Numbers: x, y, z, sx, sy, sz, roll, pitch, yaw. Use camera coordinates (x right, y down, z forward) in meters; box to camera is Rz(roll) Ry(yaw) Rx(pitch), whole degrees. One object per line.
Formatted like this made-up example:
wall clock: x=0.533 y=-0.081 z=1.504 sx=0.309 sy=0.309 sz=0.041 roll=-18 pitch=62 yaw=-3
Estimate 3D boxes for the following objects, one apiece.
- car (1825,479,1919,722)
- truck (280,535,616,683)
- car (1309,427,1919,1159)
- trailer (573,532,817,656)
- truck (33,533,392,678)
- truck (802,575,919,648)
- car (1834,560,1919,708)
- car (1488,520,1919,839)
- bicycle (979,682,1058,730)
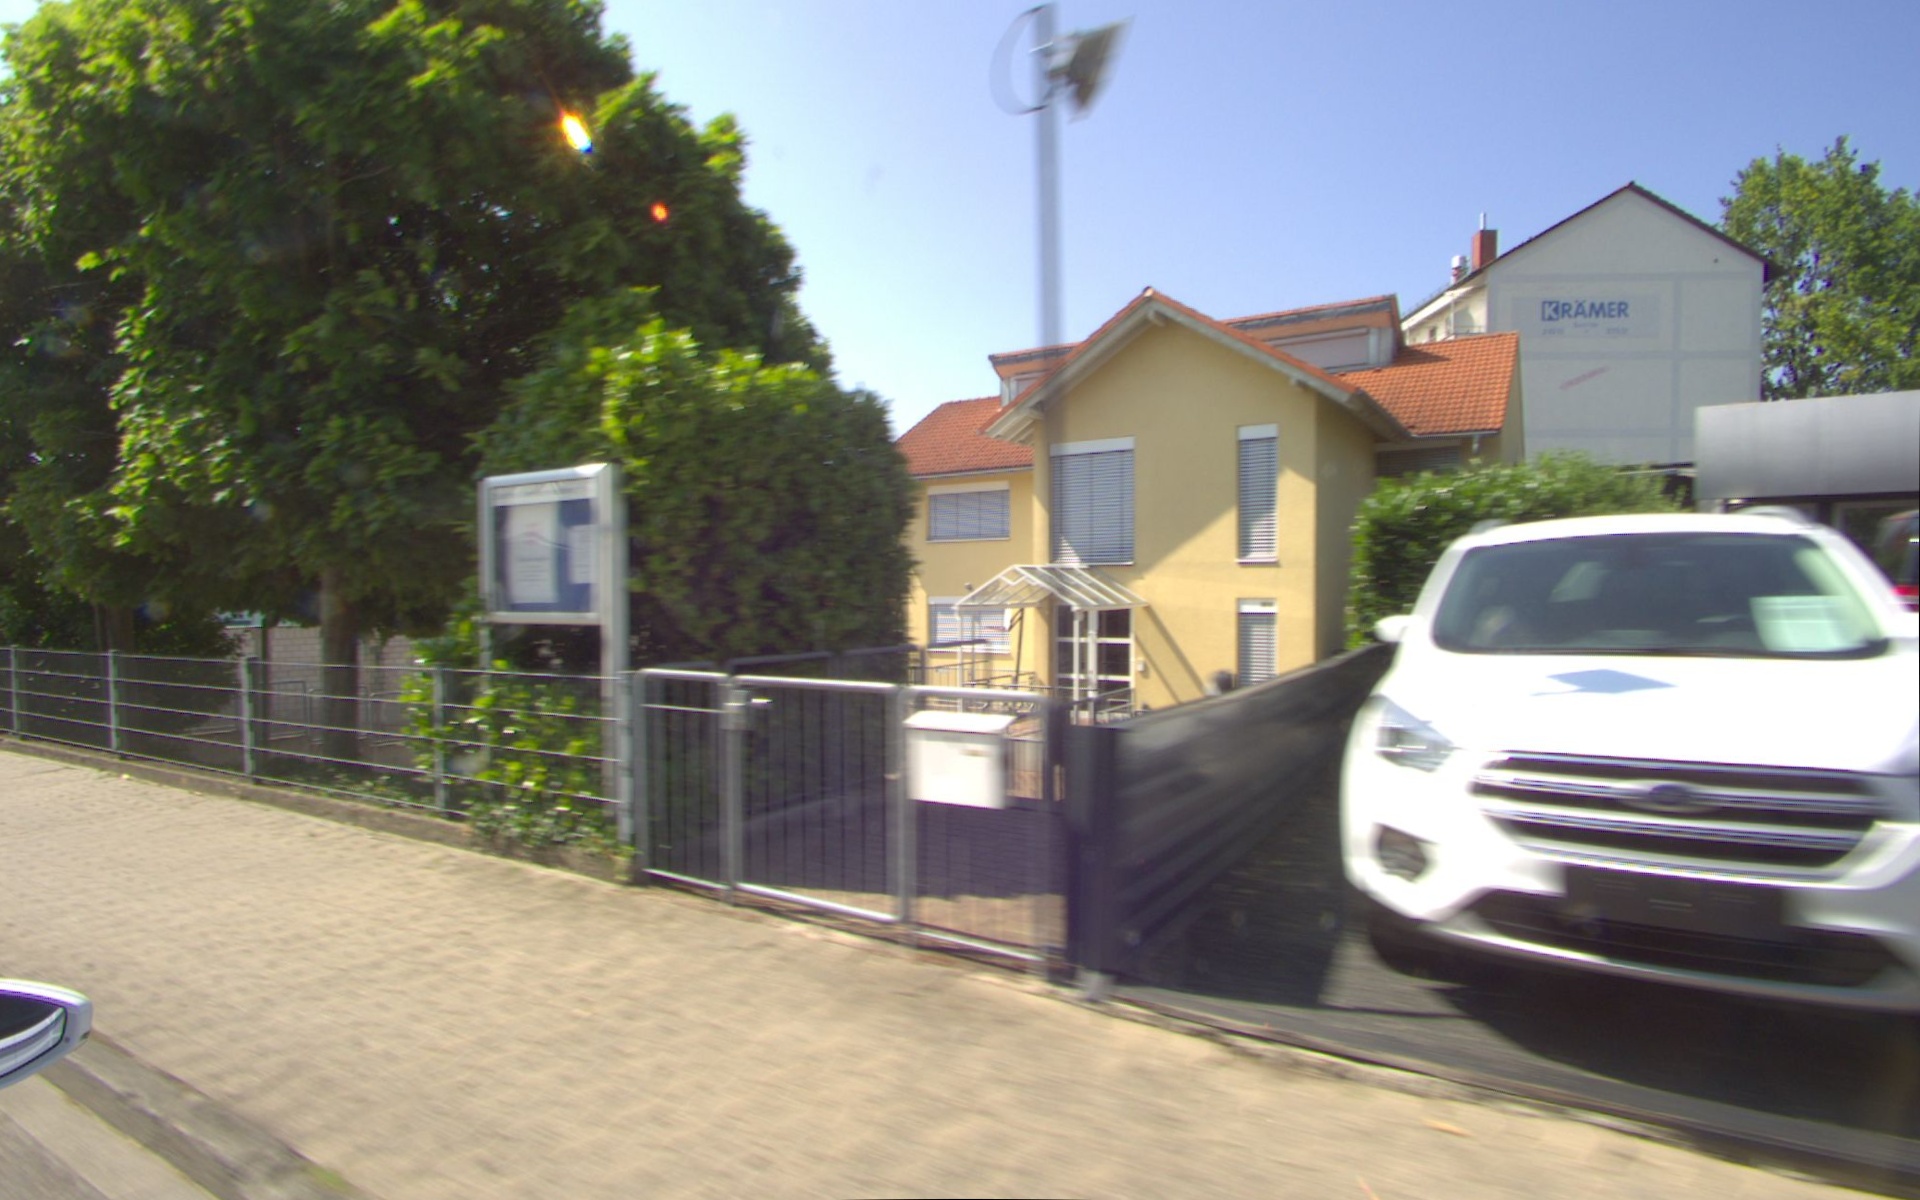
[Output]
car: x=10.503 y=-0.043 z=8.193 sx=4.831 sy=2.041 sz=1.991 roll=-1 pitch=1 yaw=28
truck: x=-14.383 y=0.230 z=28.970 sx=2.913 sy=3.659 sz=8.251 roll=0 pitch=0 yaw=35
car: x=2.913 y=0.433 z=4.409 sx=1.816 sy=1.675 sz=4.396 roll=0 pitch=0 yaw=30
trailer: x=-9.223 y=-0.207 z=35.914 sx=3.029 sy=3.914 sz=8.301 roll=0 pitch=1 yaw=38
truck: x=-20.195 y=0.314 z=27.666 sx=2.491 sy=3.466 sz=7.507 roll=0 pitch=-3 yaw=33
truck: x=-4.915 y=0.508 z=50.401 sx=2.887 sy=3.408 sz=5.664 roll=0 pitch=1 yaw=35
car: x=12.458 y=0.330 z=10.982 sx=3.937 sy=1.617 sz=1.992 roll=-1 pitch=1 yaw=28
car: x=5.865 y=0.492 z=6.967 sx=3.735 sy=1.884 sz=1.990 roll=-1 pitch=-1 yaw=32
bicycle: x=1.338 y=2.420 z=22.994 sx=1.778 sy=1.007 sz=0.617 roll=0 pitch=2 yaw=2
